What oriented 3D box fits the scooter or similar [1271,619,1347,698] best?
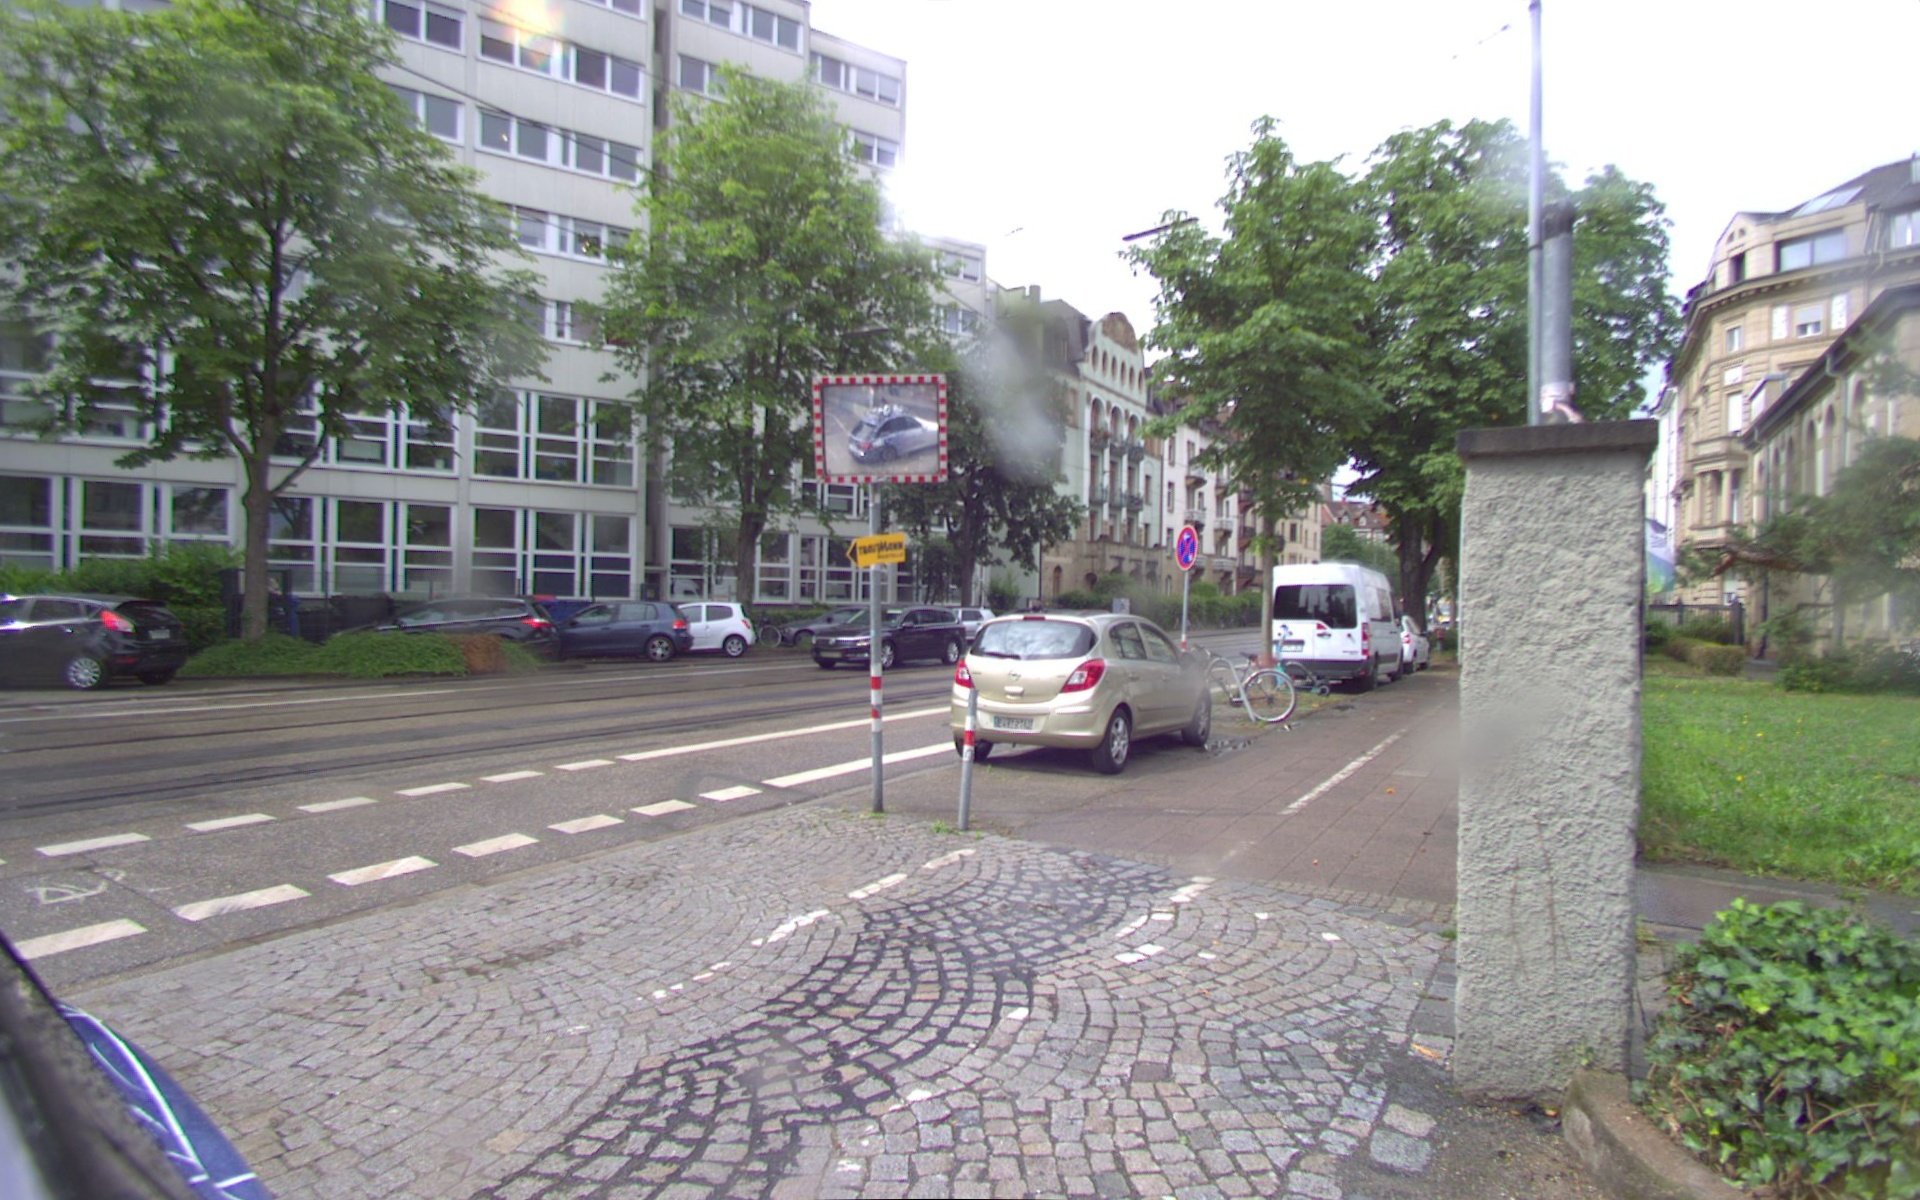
[{"bbox_3d":[5.918,0.984,17.194,1.134,1.286,0.425,1,-2,7],"label":"scooter or similar"}]

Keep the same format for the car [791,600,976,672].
[{"bbox_3d":[-1.631,0.768,23.462,1.992,1.492,4.715,-1,-1,30],"label":"car"}]

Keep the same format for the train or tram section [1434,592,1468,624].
[{"bbox_3d":[62.815,0.941,129.334,3.012,3.902,9.473,-1,0,31],"label":"train or tram section"}]

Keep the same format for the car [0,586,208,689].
[{"bbox_3d":[-14.203,0.547,15.531,3.917,1.492,1.819,0,0,-6],"label":"car"}]

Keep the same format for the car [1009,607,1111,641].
[{"bbox_3d":[4.554,1.103,46.558,4.373,1.463,1.908,-1,0,-5],"label":"car"}]

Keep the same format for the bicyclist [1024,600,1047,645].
[{"bbox_3d":[2.785,0.813,37.235,0.642,1.629,0.668,-1,0,27],"label":"bicyclist"}]

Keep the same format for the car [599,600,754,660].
[{"bbox_3d":[-7.474,0.777,26.895,3.817,1.465,1.782,-1,-1,-13],"label":"car"}]

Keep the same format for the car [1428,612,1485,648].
[{"bbox_3d":[22.513,1.329,45.781,1.790,1.509,3.984,-1,0,34],"label":"car"}]

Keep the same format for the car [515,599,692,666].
[{"bbox_3d":[-8.365,0.747,24.068,3.817,1.465,1.827,-1,-1,-13],"label":"car"}]

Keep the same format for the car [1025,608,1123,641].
[{"bbox_3d":[5.513,1.174,49.287,4.373,1.463,1.908,-1,0,-5],"label":"car"}]

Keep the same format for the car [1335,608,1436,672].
[{"bbox_3d":[11.260,1.028,26.681,1.909,1.562,3.332,-1,-2,33],"label":"car"}]

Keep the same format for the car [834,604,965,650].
[{"bbox_3d":[-2.145,0.915,35.384,4.322,1.463,1.890,-1,0,-12],"label":"car"}]

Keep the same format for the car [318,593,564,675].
[{"bbox_3d":[-10.771,0.677,21.330,4.297,1.567,1.883,-1,-1,-14],"label":"car"}]

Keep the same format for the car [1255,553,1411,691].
[{"bbox_3d":[7.999,0.461,21.331,2.132,2.529,5.217,-1,-1,31],"label":"car"}]

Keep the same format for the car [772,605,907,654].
[{"bbox_3d":[-3.926,0.918,32.662,4.137,1.463,1.818,-1,0,-12],"label":"car"}]

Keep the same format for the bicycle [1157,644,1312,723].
[{"bbox_3d":[3.740,1.125,13.852,1.920,0.994,0.678,-2,-1,31],"label":"bicycle"}]

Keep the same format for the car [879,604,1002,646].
[{"bbox_3d":[-0.773,0.923,38.117,4.299,1.463,1.911,-1,0,-12],"label":"car"}]

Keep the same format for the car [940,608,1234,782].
[{"bbox_3d":[1.501,0.843,10.640,1.684,1.471,3.792,-1,-1,31],"label":"car"}]

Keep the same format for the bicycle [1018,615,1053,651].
[{"bbox_3d":[2.792,1.193,37.230,0.642,1.275,1.852,-1,0,26],"label":"bicycle"}]
